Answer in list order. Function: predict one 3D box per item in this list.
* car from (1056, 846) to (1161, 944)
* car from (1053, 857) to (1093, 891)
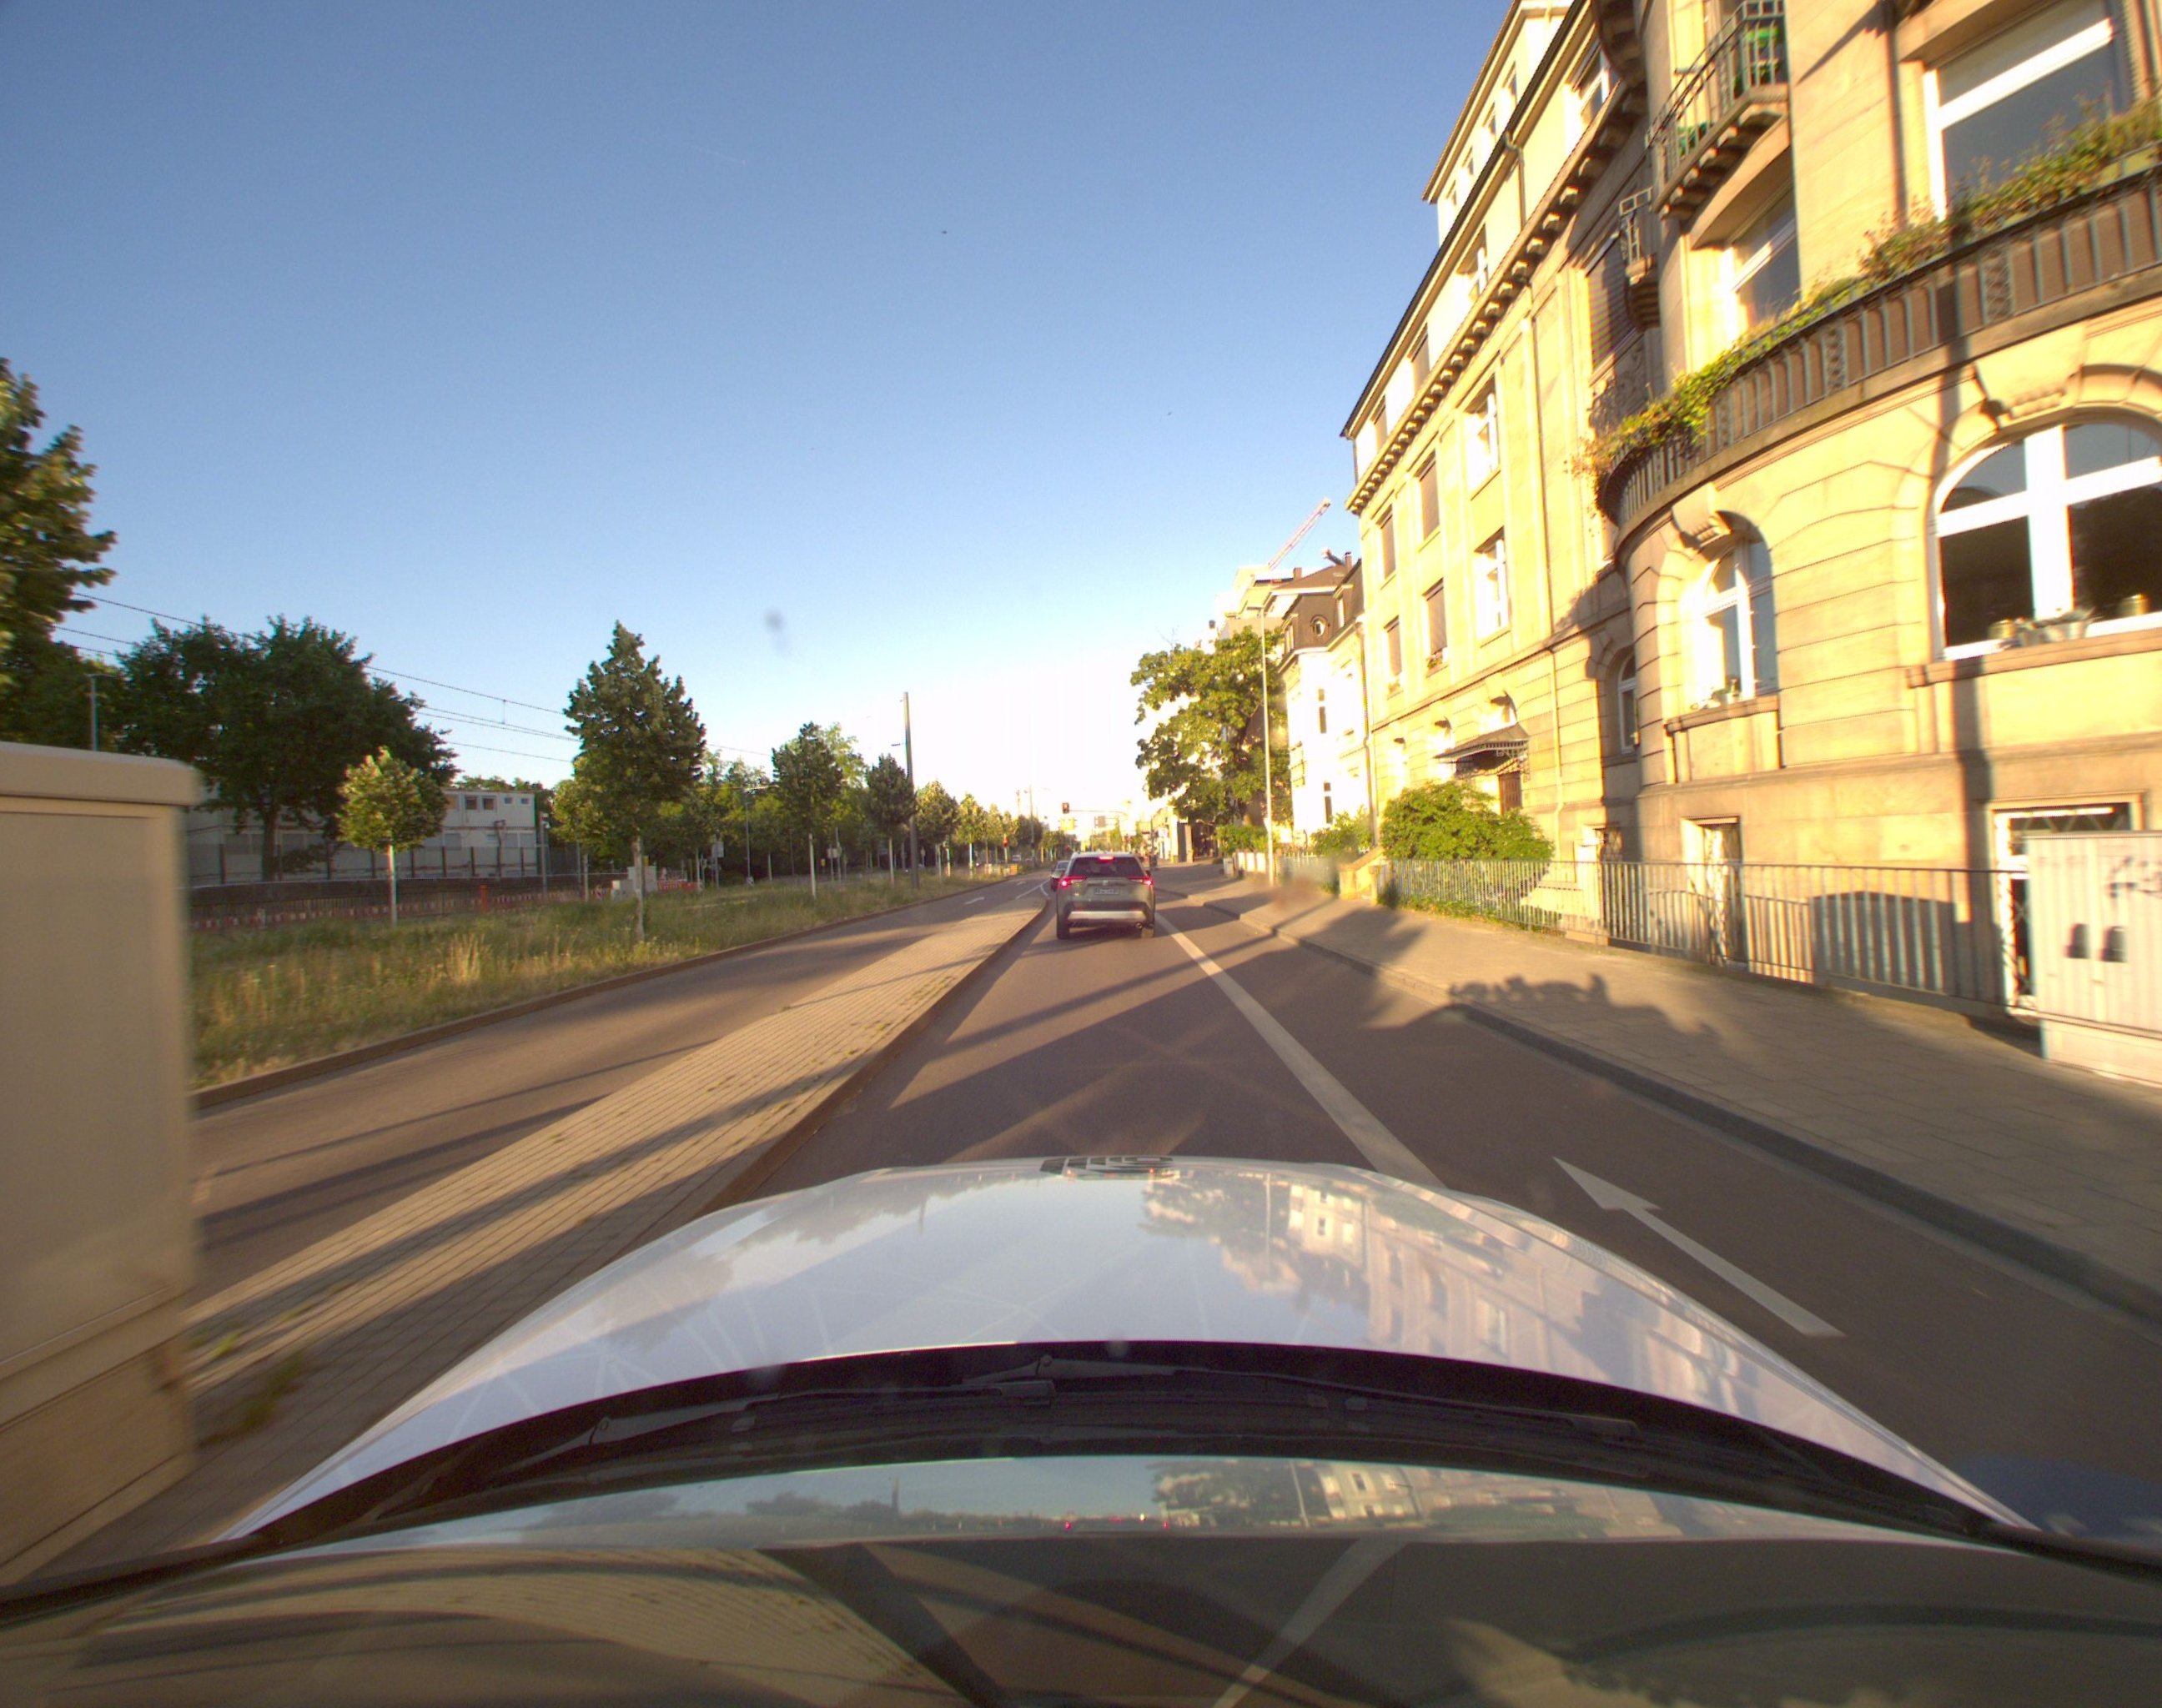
[{"bbox_3d":[0.492,0.735,16.600,1.852,1.714,4.192,-1,0,0],"label":"car"},{"bbox_3d":[-0.353,0.970,40.281,1.852,1.551,4.109,-1,0,0],"label":"car"}]
